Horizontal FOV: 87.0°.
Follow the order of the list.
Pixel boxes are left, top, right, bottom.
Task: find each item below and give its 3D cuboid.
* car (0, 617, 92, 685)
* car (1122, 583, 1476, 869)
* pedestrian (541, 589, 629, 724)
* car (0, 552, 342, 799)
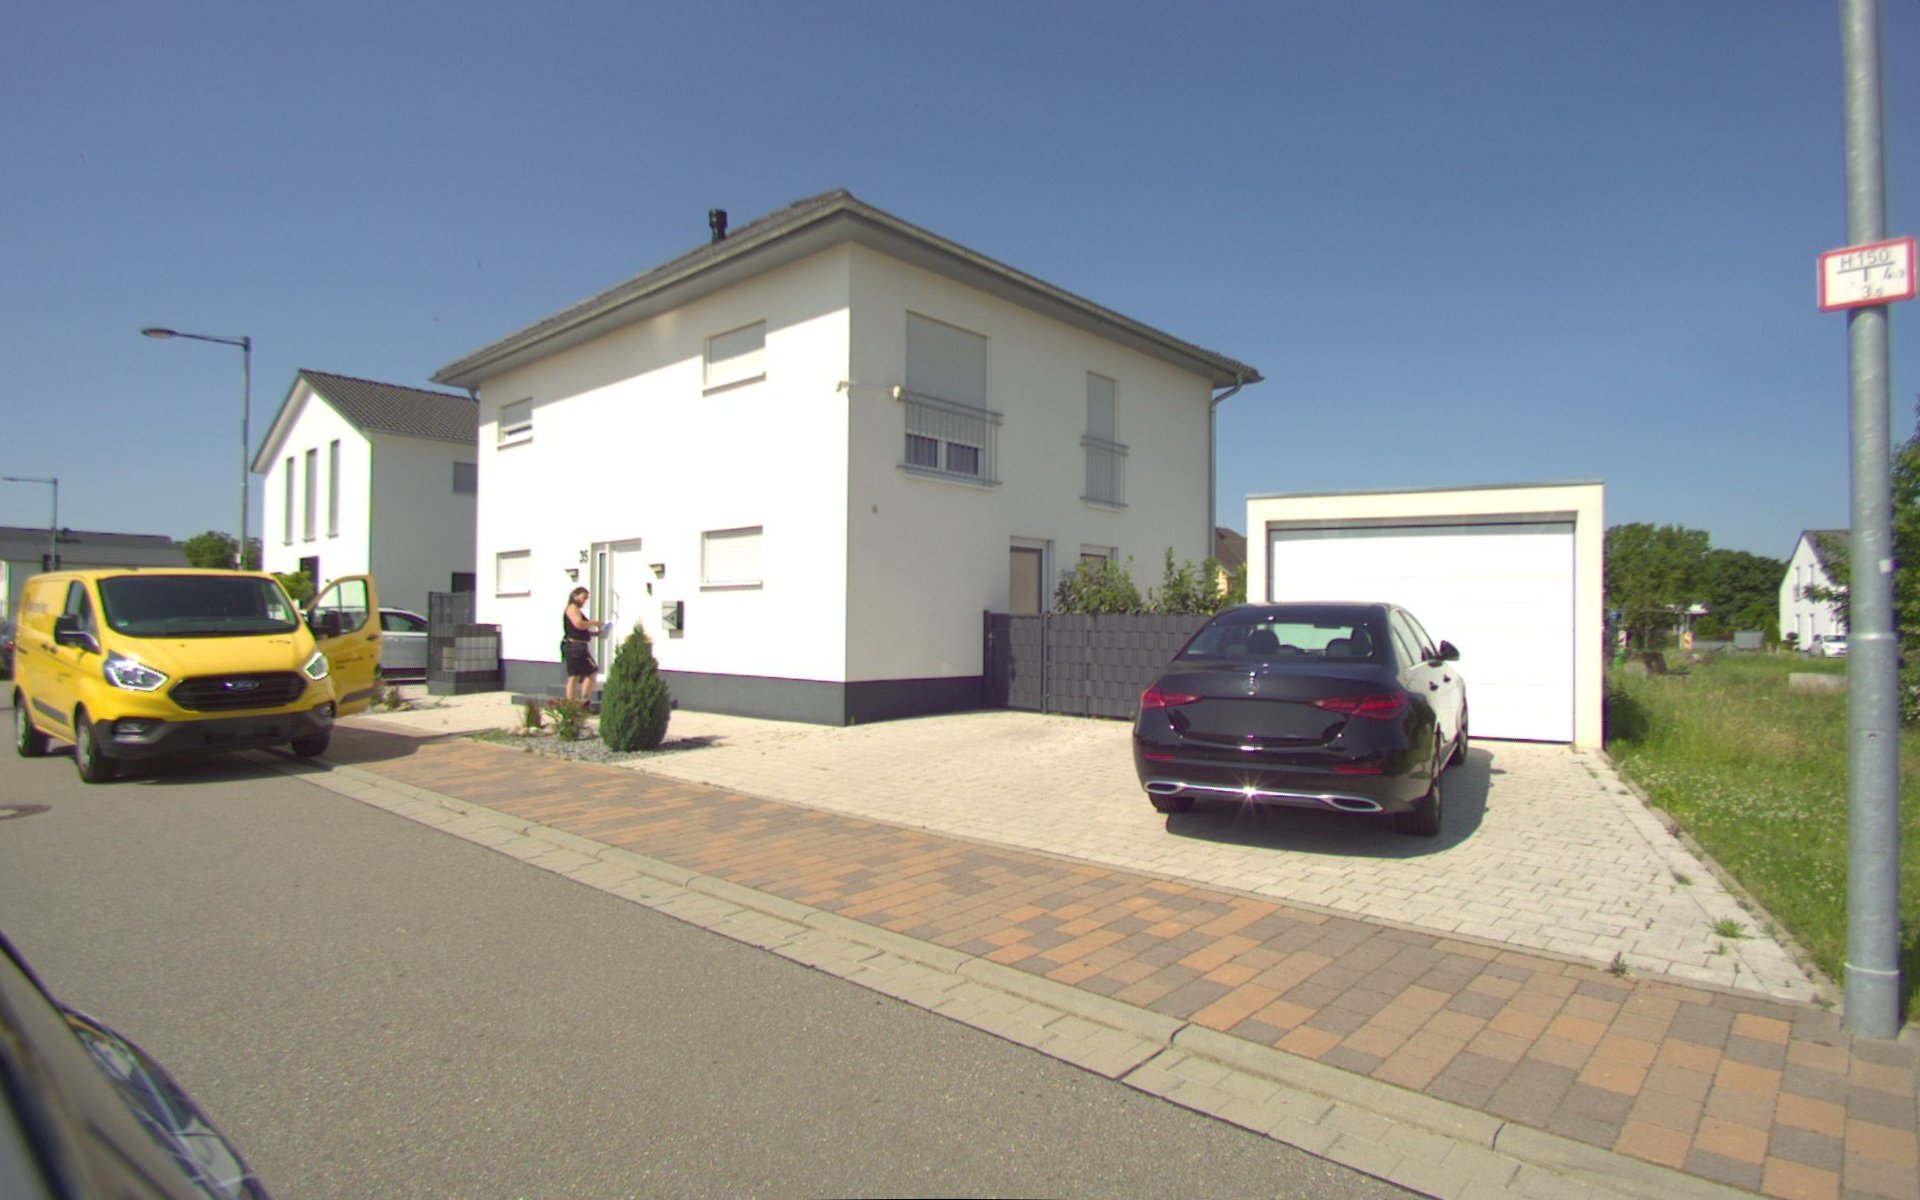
[{"bbox_3d":[-22.466,1.173,24.535,4.445,1.484,1.672,-1,0,43],"label":"car"},{"bbox_3d":[2.781,0.659,7.530,1.741,1.463,4.364,-1,-1,29],"label":"car"},{"bbox_3d":[-4.936,0.717,13.330,0.918,1.698,0.538,-2,0,-38],"label":"pedestrian"},{"bbox_3d":[-8.435,0.648,10.563,4.835,2.029,1.866,-1,-1,38],"label":"car"}]
